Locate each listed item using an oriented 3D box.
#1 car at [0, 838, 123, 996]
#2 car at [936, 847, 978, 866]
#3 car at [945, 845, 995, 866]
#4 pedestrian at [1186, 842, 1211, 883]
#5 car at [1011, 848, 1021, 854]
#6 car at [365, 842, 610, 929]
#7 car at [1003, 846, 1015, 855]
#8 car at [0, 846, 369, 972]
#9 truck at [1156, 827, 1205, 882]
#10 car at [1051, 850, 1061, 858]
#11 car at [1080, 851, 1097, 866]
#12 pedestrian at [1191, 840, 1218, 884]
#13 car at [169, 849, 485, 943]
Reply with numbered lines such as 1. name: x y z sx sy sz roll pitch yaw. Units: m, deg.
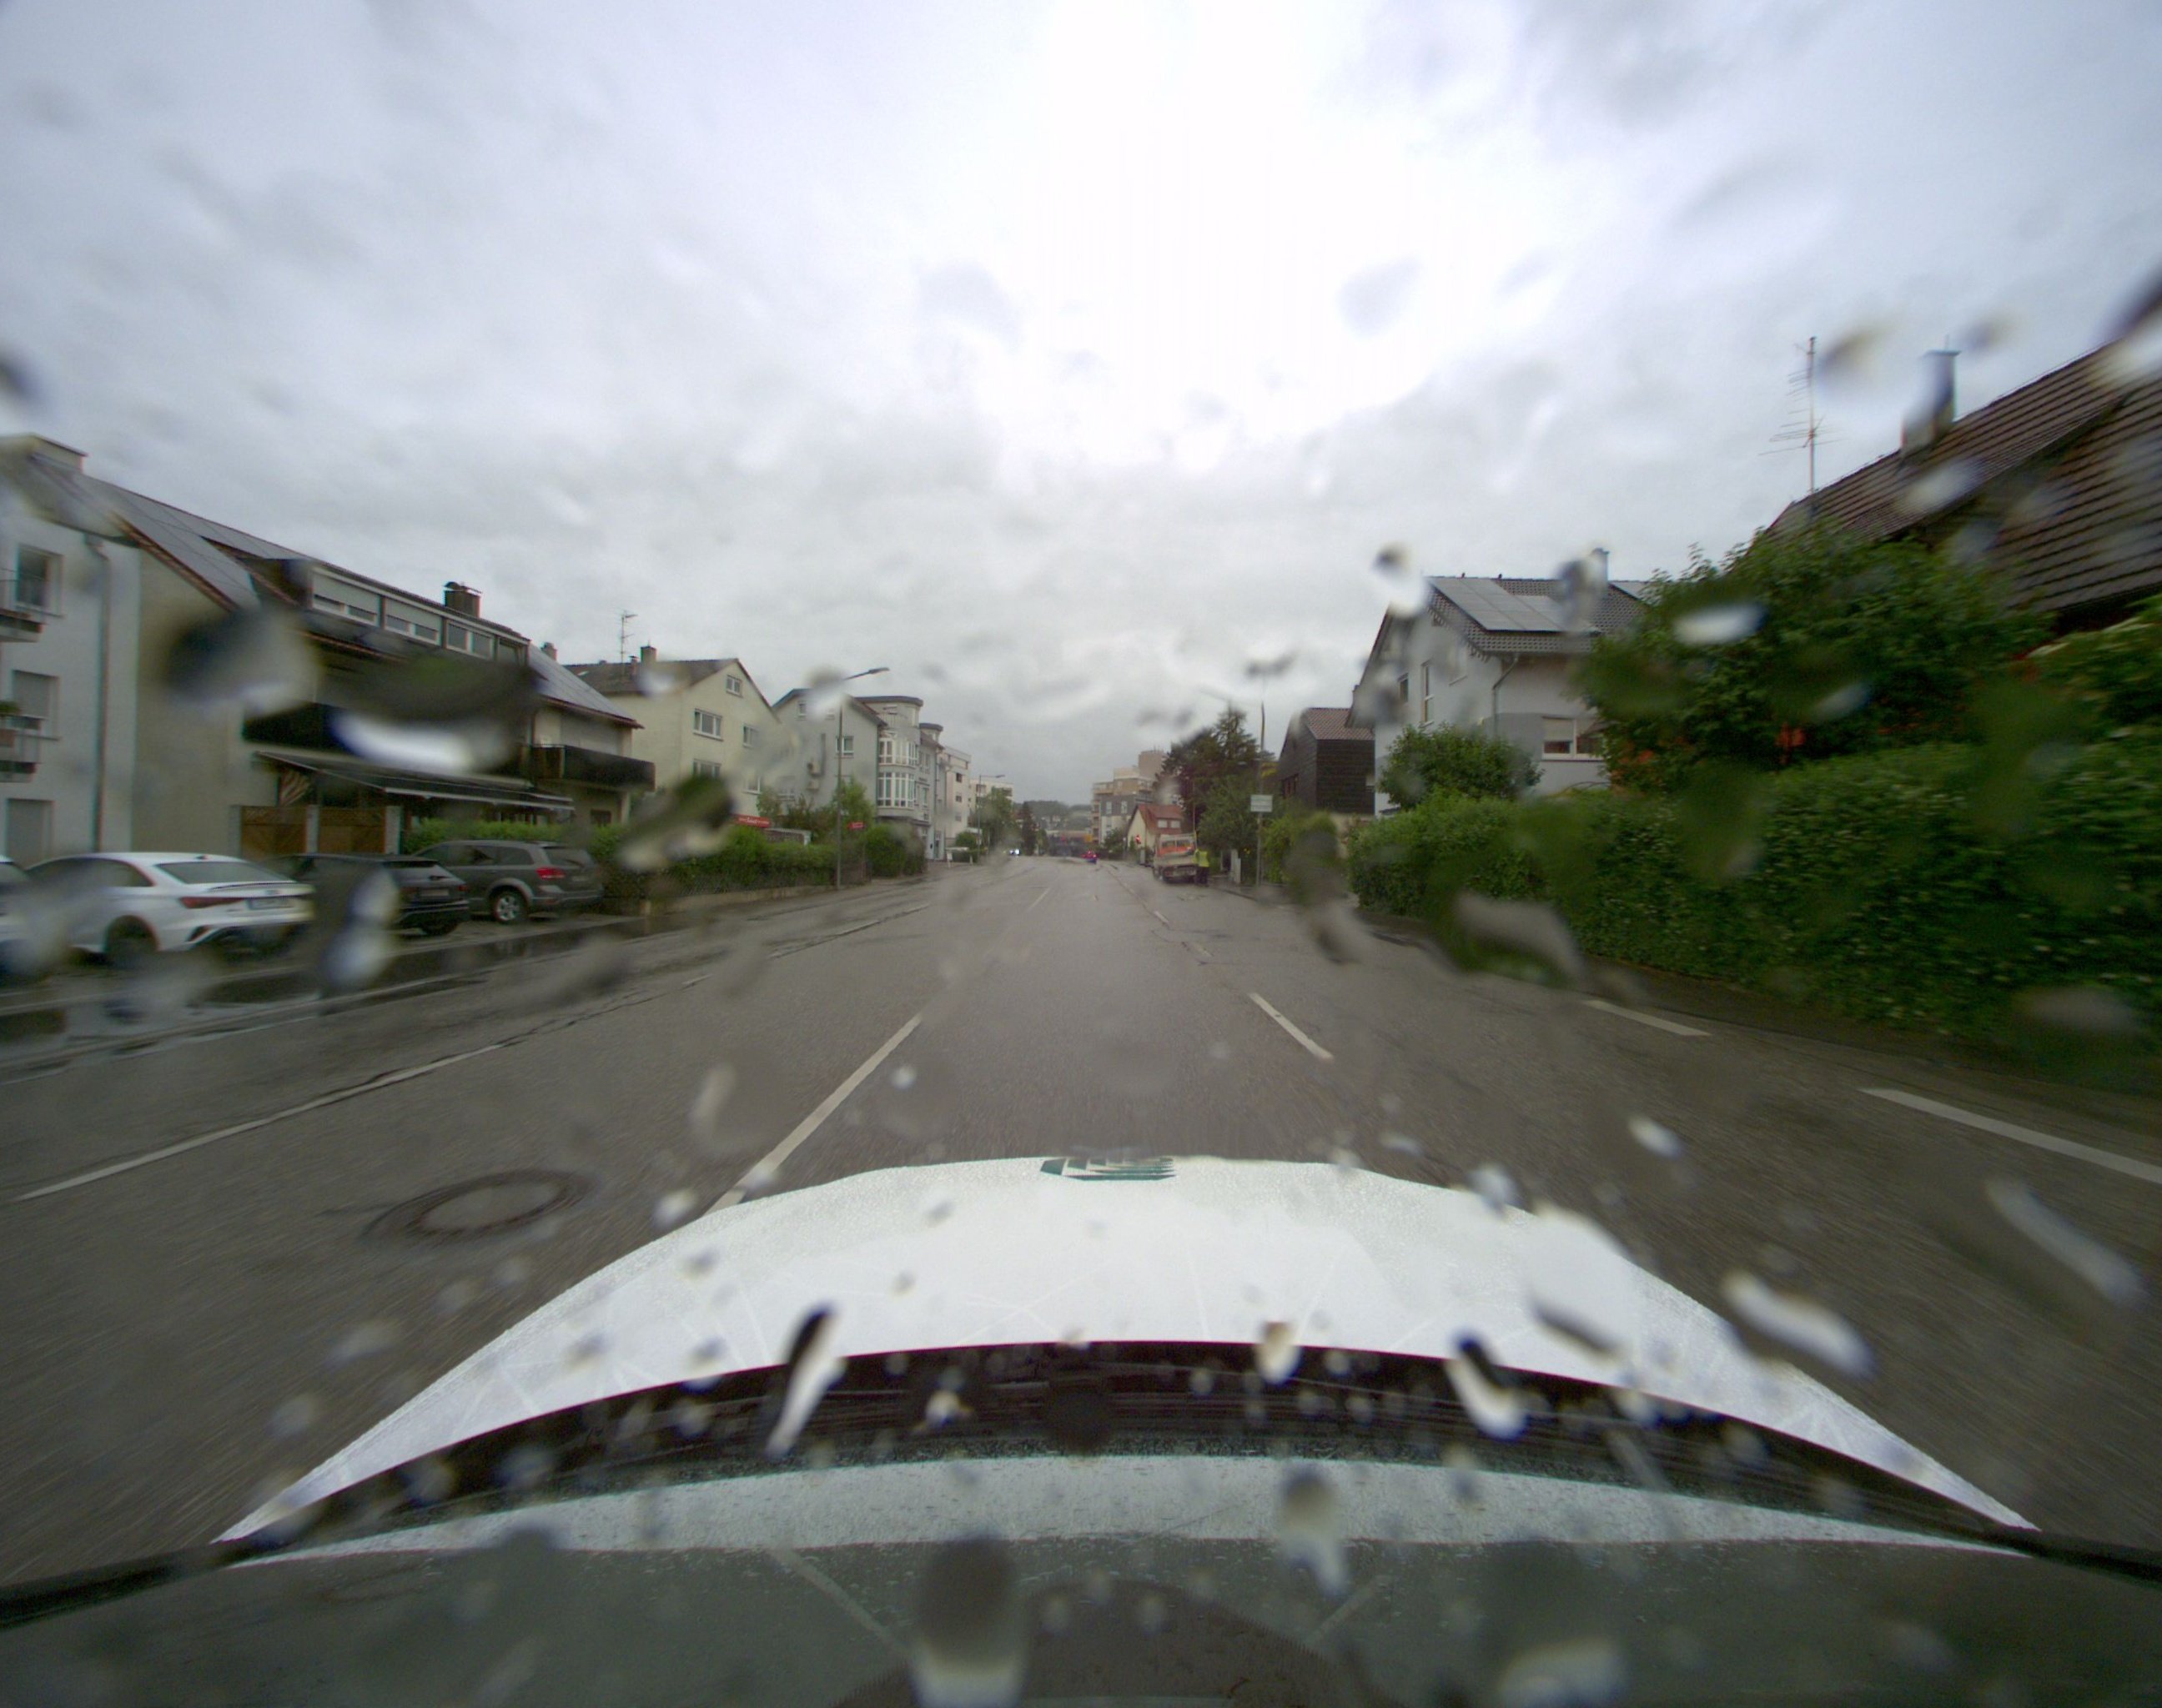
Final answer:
1. car: -12.971 0.587 8.393 4.078 1.585 1.960 2 -1 5
2. car: -13.461 0.266 88.515 3.961 2.013 2.006 2 0 11
3. car: -11.326 0.181 83.215 4.489 2.013 2.008 2 0 15
4. pedestrian: 5.018 0.343 34.795 0.825 1.726 0.836 0 0 -17
5. car: -12.730 -0.569 159.788 1.432 1.235 4.001 2 0 1
6. car: -12.232 0.625 16.905 3.963 1.686 1.814 0 -1 9
7. car: -13.372 -0.560 151.868 1.654 1.463 4.001 4 -1 1
8. car: -12.478 0.662 11.095 3.966 1.434 1.975 2 0 7
9. truck: 4.648 0.051 38.545 1.984 2.303 4.005 4 -1 5
10. car: -4.856 -0.001 157.167 1.573 1.438 4.001 4 -1 1
11. car: 0.888 0.510 94.253 1.787 1.669 4.003 2 0 3
12. pedestrian: 5.141 0.335 33.927 0.825 1.797 0.796 0 0 -17
13. car: -12.486 0.666 13.614 3.964 1.446 1.709 0 -1 8
